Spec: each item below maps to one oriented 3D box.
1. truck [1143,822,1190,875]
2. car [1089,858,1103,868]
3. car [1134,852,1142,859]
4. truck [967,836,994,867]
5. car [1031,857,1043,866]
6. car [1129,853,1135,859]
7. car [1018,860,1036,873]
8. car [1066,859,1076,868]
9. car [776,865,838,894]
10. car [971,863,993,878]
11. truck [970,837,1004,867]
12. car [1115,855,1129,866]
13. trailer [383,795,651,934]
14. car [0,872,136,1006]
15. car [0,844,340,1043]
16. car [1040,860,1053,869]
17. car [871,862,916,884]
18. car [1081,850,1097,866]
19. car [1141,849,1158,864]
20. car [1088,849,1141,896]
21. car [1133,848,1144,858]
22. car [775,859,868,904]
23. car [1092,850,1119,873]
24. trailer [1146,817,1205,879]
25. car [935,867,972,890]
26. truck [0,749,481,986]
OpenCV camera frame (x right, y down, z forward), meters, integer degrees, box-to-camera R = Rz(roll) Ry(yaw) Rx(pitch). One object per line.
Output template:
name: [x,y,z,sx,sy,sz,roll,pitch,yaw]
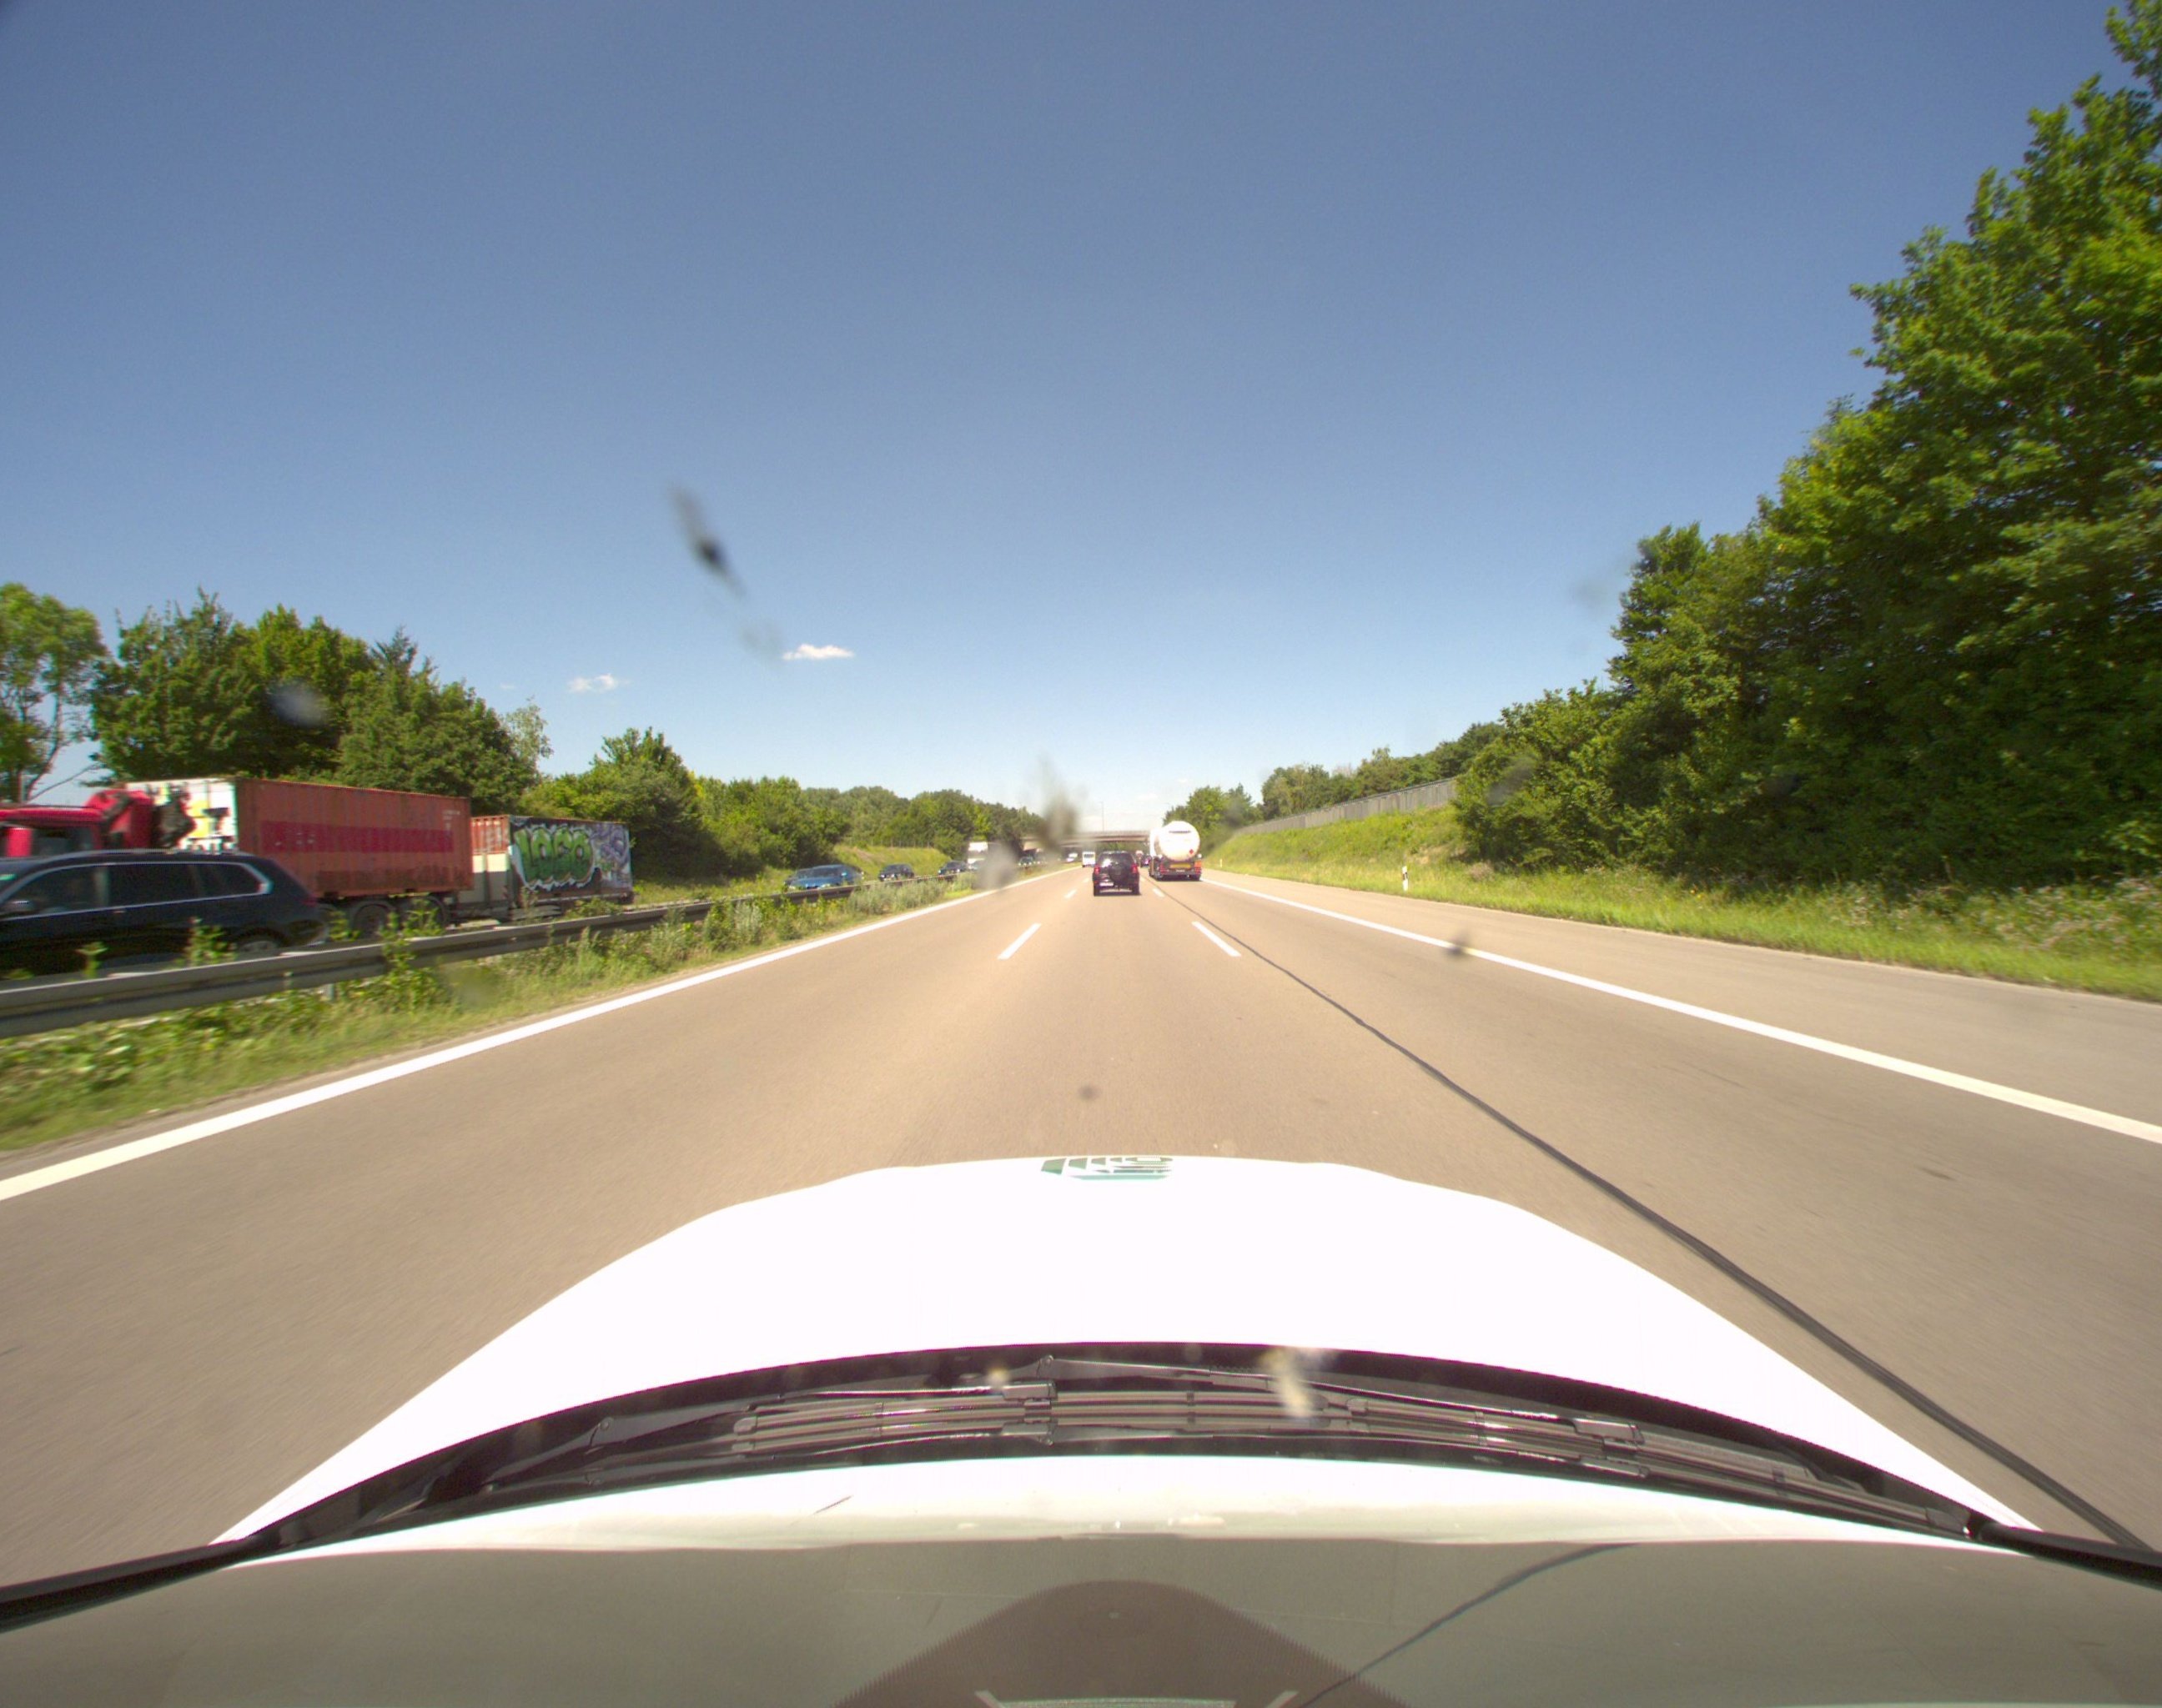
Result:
truck: [5.809,-0.327,55.985,2.628,3.375,6.488,-1,0,1]
car: [2.388,1.426,130.158,1.985,1.552,4.003,-2,-1,4]
car: [15.951,0.420,227.815,1.805,1.746,4.002,-2,0,2]
truck: [-14.230,-0.316,115.891,2.662,4.078,6.079,-4,0,2]
car: [-8.567,1.423,158.860,1.956,1.641,4.898,-2,0,3]
car: [16.010,0.719,255.159,1.805,1.746,4.002,-2,0,2]
car: [-7.062,1.655,107.315,1.852,1.600,4.722,-2,0,1]
car: [-2.226,2.134,185.965,1.985,2.014,4.917,-2,-1,3]
car: [-16.716,1.511,49.892,1.888,1.438,4.925,-5,0,1]
car: [-11.222,1.881,92.586,1.788,1.510,4.352,-2,0,1]
truck: [-13.964,-0.262,122.523,2.662,4.078,13.966,-4,0,2]
car: [6.303,0.973,124.811,1.834,1.611,4.005,-2,-1,4]
trailer: [-18.063,0.285,27.093,2.669,3.769,8.410,-3,0,2]
car: [-14.948,1.142,9.852,1.987,1.690,4.265,-2,0,0]
car: [-11.144,0.876,8.638,1.987,1.865,4.898,-2,0,0]
car: [-5.848,1.793,138.310,1.867,1.439,5.021,-2,0,3]
car: [-13.228,1.299,57.663,1.888,1.339,4.765,-5,0,1]
car: [1.088,0.514,108.883,1.986,2.013,4.951,-3,-1,2]
car: [8.292,0.289,98.793,1.985,1.684,4.003,-2,-1,3]
car: [1.309,0.680,31.825,1.899,1.665,4.002,-2,0,2]
car: [11.334,-0.202,160.476,1.985,1.779,4.265,-2,0,4]
car: [-10.085,1.019,32.096,1.826,1.565,4.959,-2,0,2]
car: [1.893,0.610,64.552,1.986,1.706,4.337,-3,-1,1]
trailer: [5.717,-0.320,51.086,2.638,3.390,11.155,-1,0,1]
car: [-9.717,1.838,62.295,1.888,1.427,4.765,-5,0,1]
truck: [-18.358,0.282,17.841,2.669,3.769,9.923,-3,0,2]
